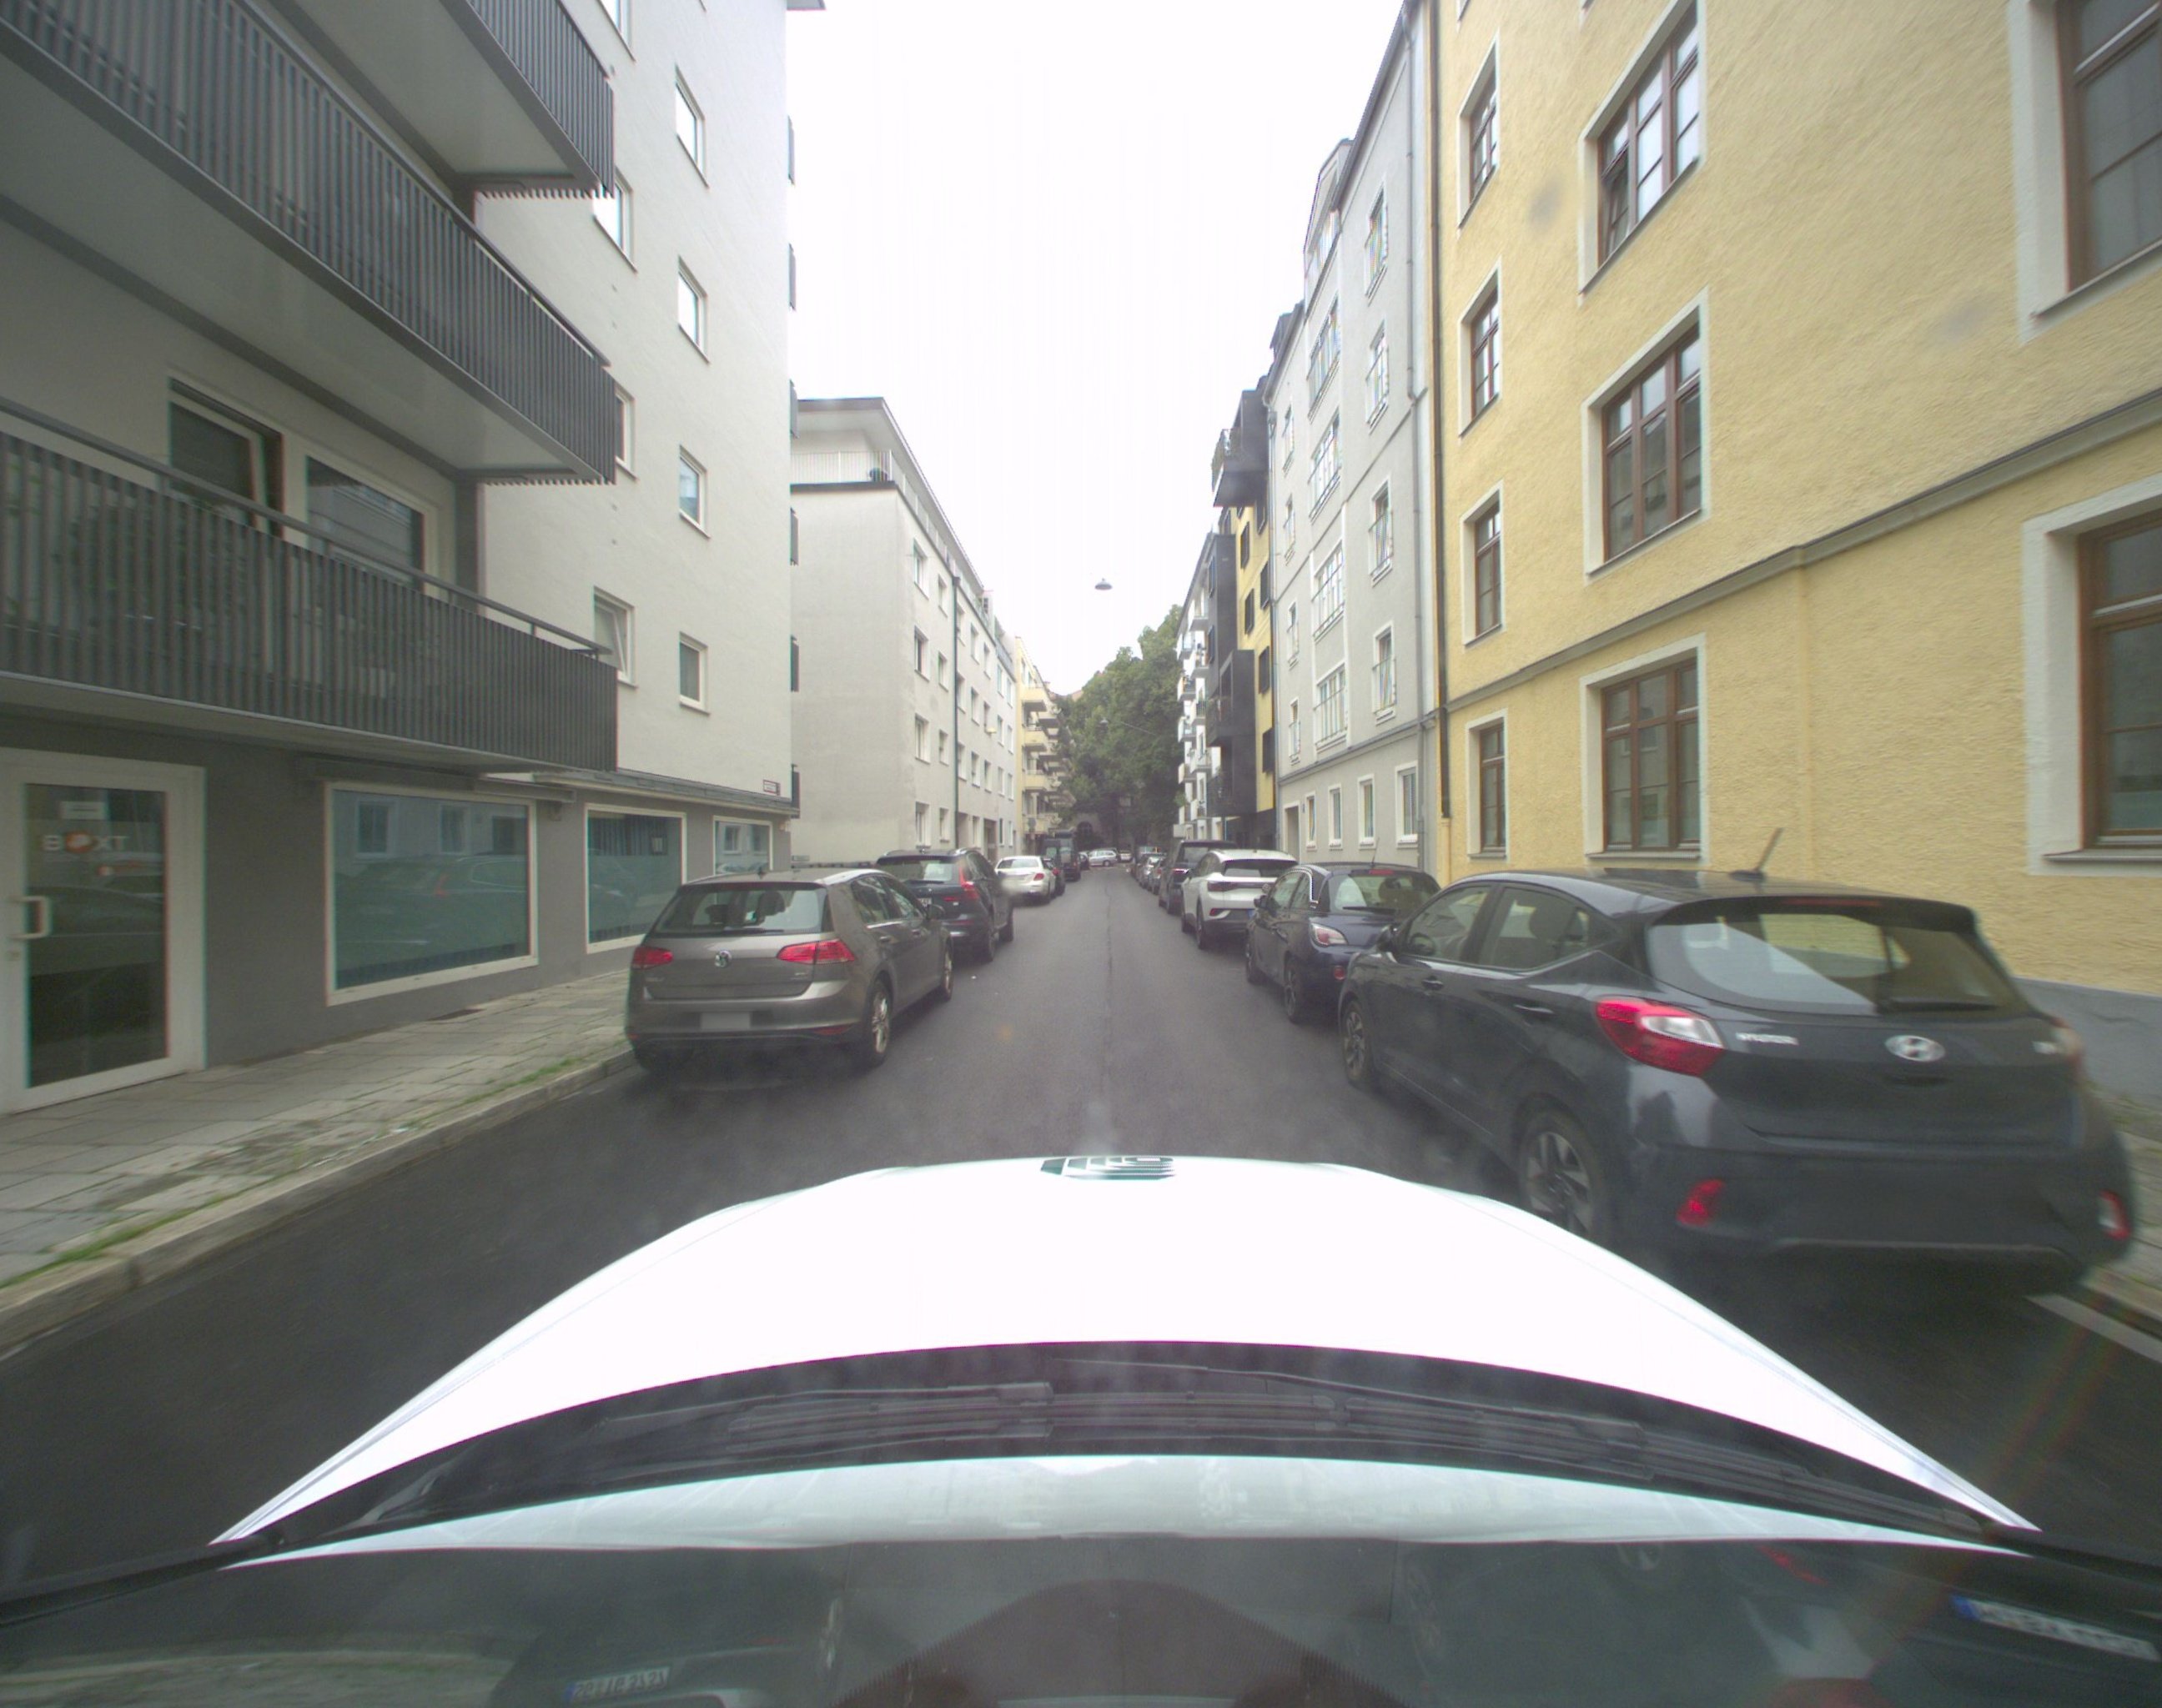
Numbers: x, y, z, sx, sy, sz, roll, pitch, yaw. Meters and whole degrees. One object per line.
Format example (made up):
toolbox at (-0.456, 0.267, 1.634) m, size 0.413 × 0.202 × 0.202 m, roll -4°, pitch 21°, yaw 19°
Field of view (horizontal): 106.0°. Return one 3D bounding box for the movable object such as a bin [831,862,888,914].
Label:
movable object such as a bin at (-6.067, 0.917, 22.401) m, size 1.161 × 1.337 × 1.026 m, roll -3°, pitch 0°, yaw 4°

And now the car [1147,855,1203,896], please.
car at (3.747, 0.812, 33.040) m, size 1.822 × 1.454 × 4.417 m, roll 2°, pitch 0°, yaw 1°

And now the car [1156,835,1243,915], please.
car at (3.093, 0.507, 22.124) m, size 1.822 × 1.910 × 4.417 m, roll 1°, pitch 0°, yaw 2°

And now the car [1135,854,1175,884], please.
car at (3.907, 0.784, 43.545) m, size 1.822 × 1.454 × 4.417 m, roll 2°, pitch 0°, yaw 1°

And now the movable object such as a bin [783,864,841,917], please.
movable object such as a bin at (-7.319, 0.987, 22.197) m, size 1.152 × 1.337 × 0.994 m, roll -3°, pitch 0°, yaw 4°

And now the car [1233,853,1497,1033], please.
car at (2.775, 0.753, 8.854) m, size 1.657 × 1.469 × 3.821 m, roll 2°, pitch 0°, yaw 2°

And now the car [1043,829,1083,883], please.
car at (-0.959, 0.116, 45.838) m, size 1.929 × 2.801 × 4.534 m, roll -3°, pitch 0°, yaw 1°

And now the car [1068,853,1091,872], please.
car at (-0.106, 0.673, 64.537) m, size 1.636 × 1.383 × 3.483 m, roll -3°, pitch 0°, yaw 1°

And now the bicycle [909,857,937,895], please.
bicycle at (-4.953, 0.670, 25.609) m, size 0.394 × 1.067 × 2.134 m, roll 1°, pitch 2°, yaw 1°

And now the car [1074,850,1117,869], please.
car at (1.337, 0.493, 76.395) m, size 3.873 × 1.584 × 1.648 m, roll -3°, pitch 0°, yaw 0°

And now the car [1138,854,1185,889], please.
car at (3.735, 0.777, 38.278) m, size 1.822 × 1.454 × 4.417 m, roll 2°, pitch 0°, yaw 1°

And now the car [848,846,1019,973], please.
car at (-2.112, 0.727, 12.971) m, size 1.770 × 1.629 × 4.416 m, roll -2°, pitch 0°, yaw 1°

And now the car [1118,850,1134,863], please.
car at (4.989, 0.300, 91.316) m, size 1.636 × 1.383 × 3.747 m, roll -3°, pitch 0°, yaw 1°

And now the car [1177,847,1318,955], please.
car at (2.766, 0.695, 14.464) m, size 1.676 × 1.567 × 4.417 m, roll 2°, pitch 0°, yaw 1°

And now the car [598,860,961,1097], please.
car at (-2.242, 0.816, 7.257) m, size 1.687 × 1.442 × 3.977 m, roll -2°, pitch 0°, yaw 0°

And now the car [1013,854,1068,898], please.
car at (-1.491, 0.800, 31.363) m, size 1.770 × 1.453 × 4.047 m, roll -3°, pitch 0°, yaw 1°

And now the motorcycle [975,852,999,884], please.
motorcycle at (-4.138, 0.609, 36.034) m, size 0.677 × 1.350 × 2.488 m, roll 0°, pitch 0°, yaw 3°

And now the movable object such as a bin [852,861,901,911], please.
movable object such as a bin at (-5.880, 0.904, 23.475) m, size 1.043 × 1.337 × 0.994 m, roll -3°, pitch 0°, yaw 4°

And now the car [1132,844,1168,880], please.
car at (4.054, 0.439, 48.626) m, size 1.822 × 1.999 × 4.417 m, roll 2°, pitch 0°, yaw 1°

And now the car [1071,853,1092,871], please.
car at (0.066, 0.660, 68.381) m, size 1.636 × 1.383 × 3.483 m, roll -3°, pitch 0°, yaw 1°

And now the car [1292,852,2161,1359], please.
car at (2.630, 0.755, 4.618) m, size 1.745 × 1.469 × 4.343 m, roll 2°, pitch 0°, yaw 0°

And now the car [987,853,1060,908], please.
car at (-1.740, 0.778, 26.161) m, size 1.770 × 1.487 × 4.522 m, roll -3°, pitch 0°, yaw 2°

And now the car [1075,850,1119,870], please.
car at (1.429, 0.540, 74.455) m, size 3.873 × 1.584 × 1.648 m, roll -3°, pitch 0°, yaw 0°
